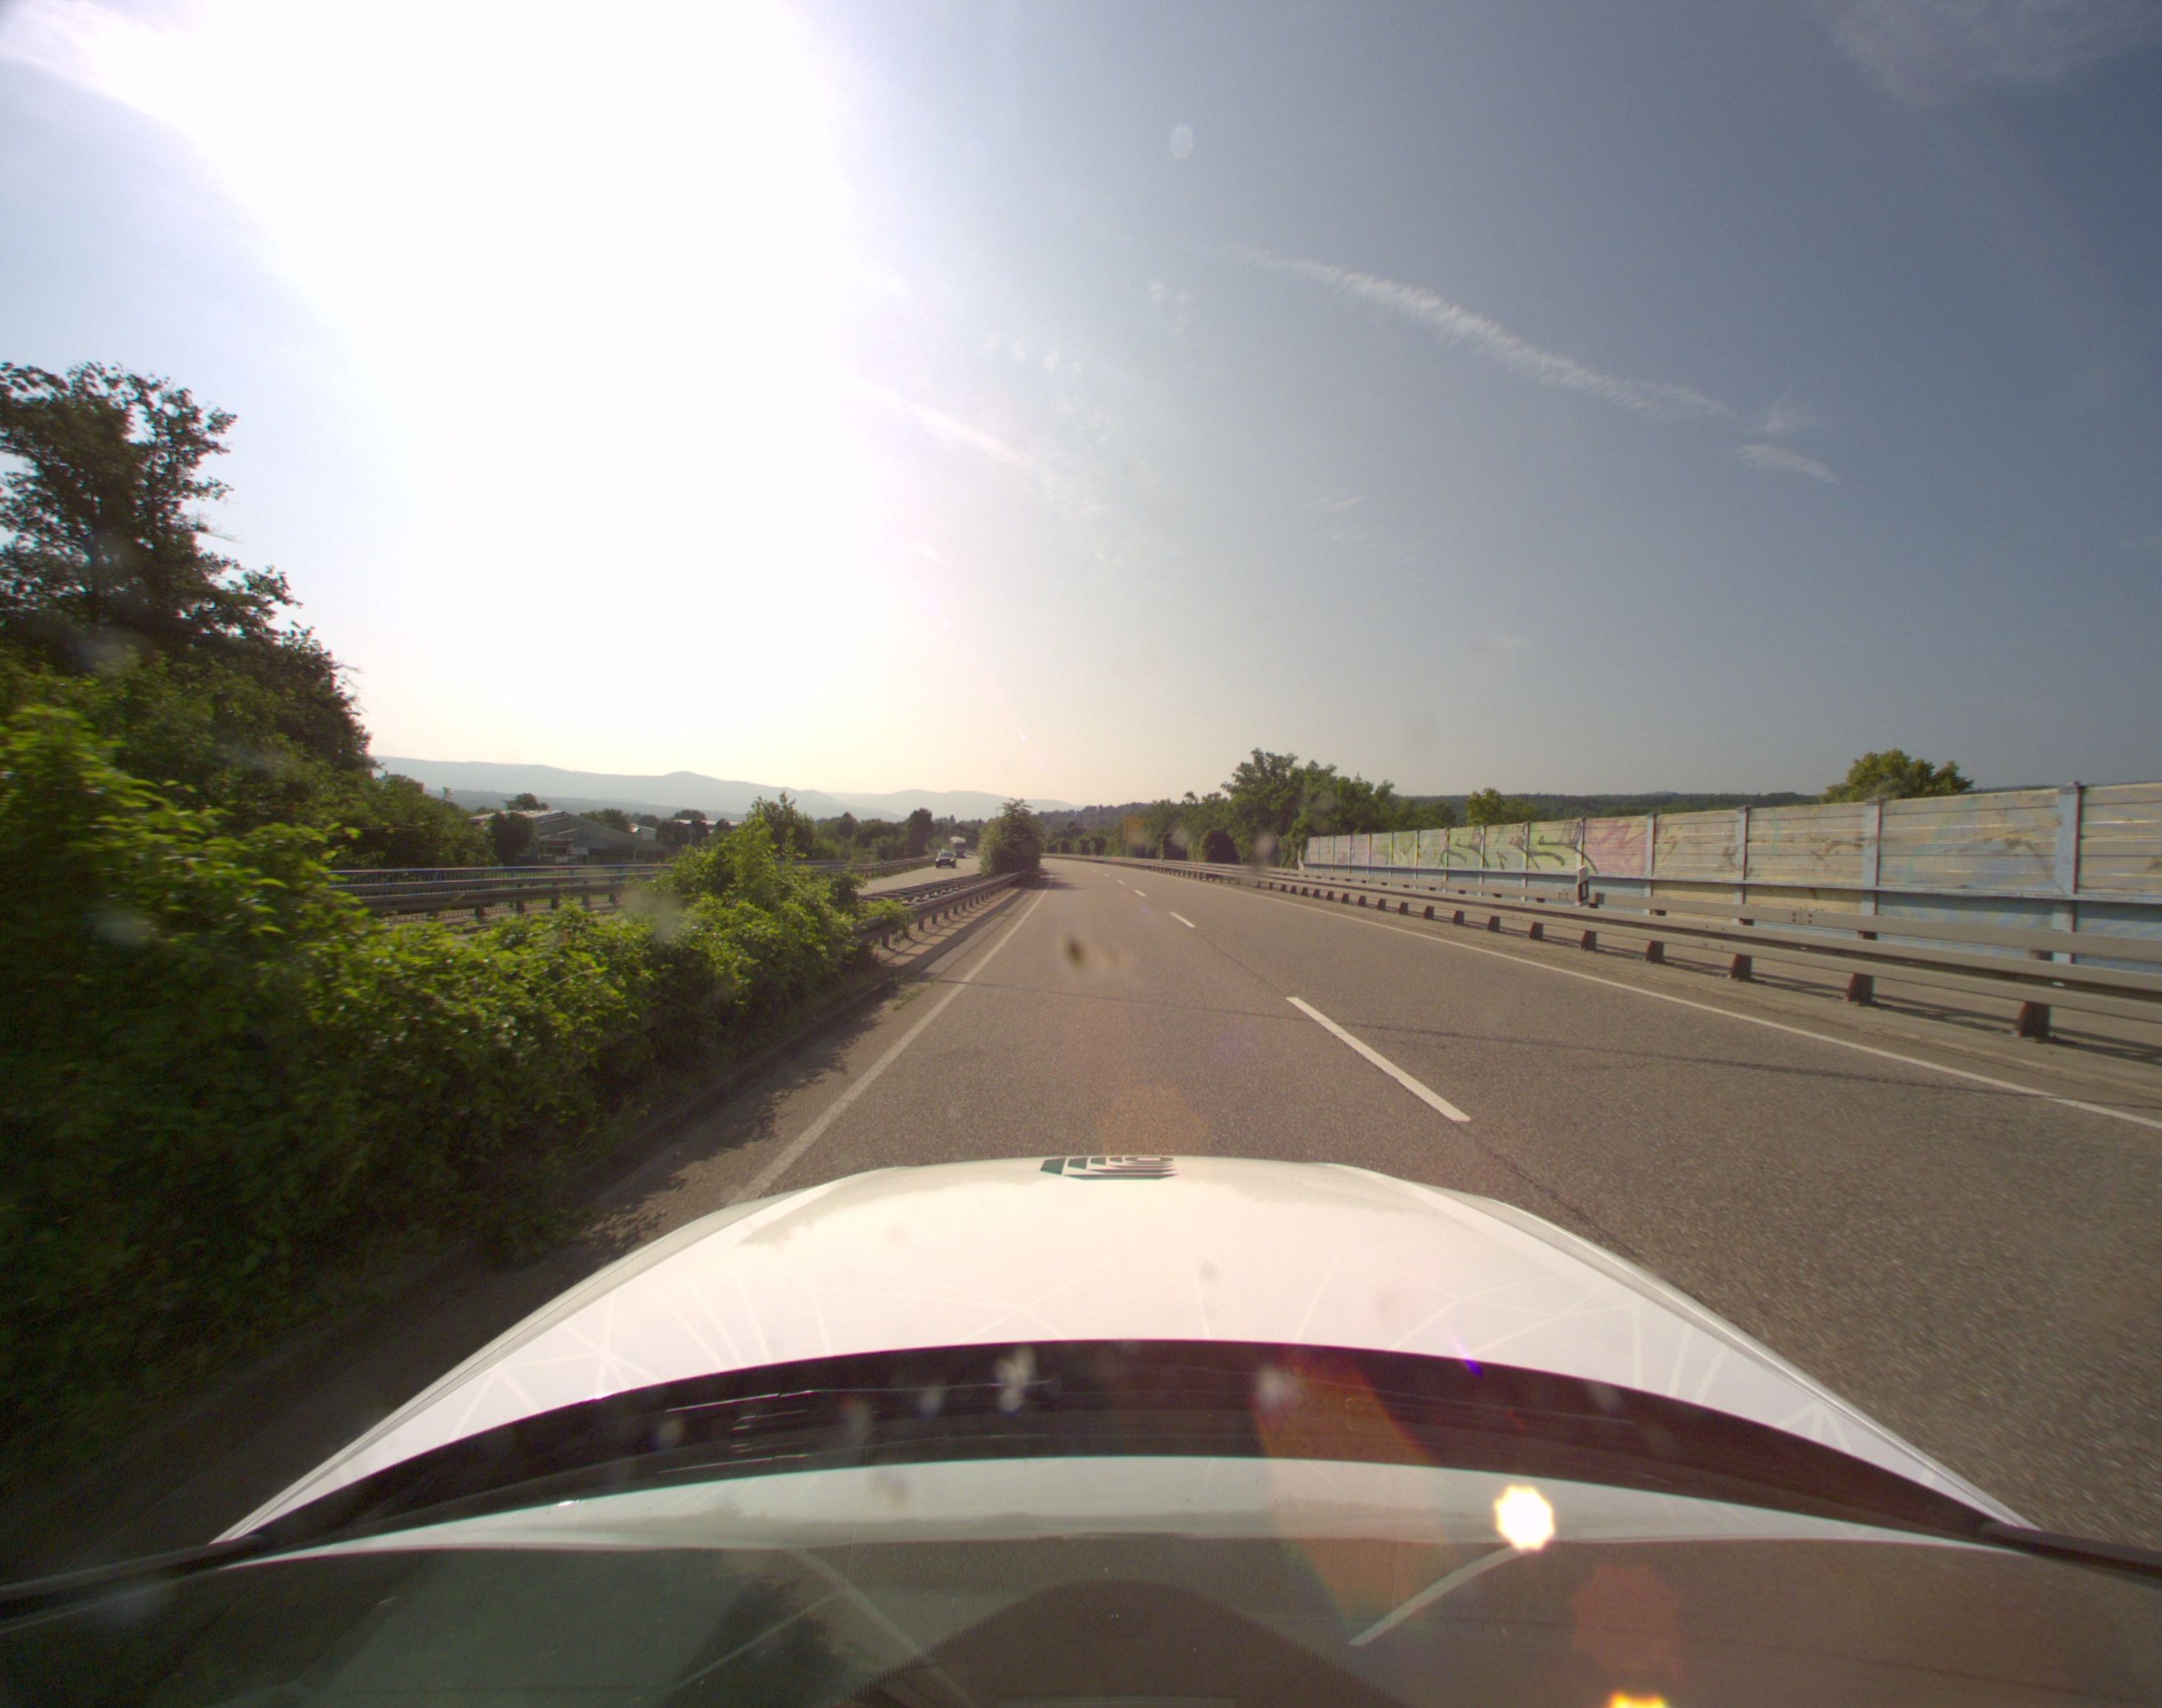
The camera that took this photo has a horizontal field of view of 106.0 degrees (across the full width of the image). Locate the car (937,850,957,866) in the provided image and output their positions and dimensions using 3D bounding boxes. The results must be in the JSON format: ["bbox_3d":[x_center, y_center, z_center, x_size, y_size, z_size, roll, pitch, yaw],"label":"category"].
[{"bbox_3d":[-13.736,0.413,83.510,1.664,1.564,3.485,-1,0,-3],"label":"car"}]

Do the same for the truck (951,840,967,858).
[{"bbox_3d":[-24.798,-1.067,165.230,2.281,3.687,4.193,0,0,-20],"label":"truck"}]

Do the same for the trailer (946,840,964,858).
[{"bbox_3d":[-26.193,-1.071,169.113,2.283,3.682,7.412,0,0,-20],"label":"trailer"}]
